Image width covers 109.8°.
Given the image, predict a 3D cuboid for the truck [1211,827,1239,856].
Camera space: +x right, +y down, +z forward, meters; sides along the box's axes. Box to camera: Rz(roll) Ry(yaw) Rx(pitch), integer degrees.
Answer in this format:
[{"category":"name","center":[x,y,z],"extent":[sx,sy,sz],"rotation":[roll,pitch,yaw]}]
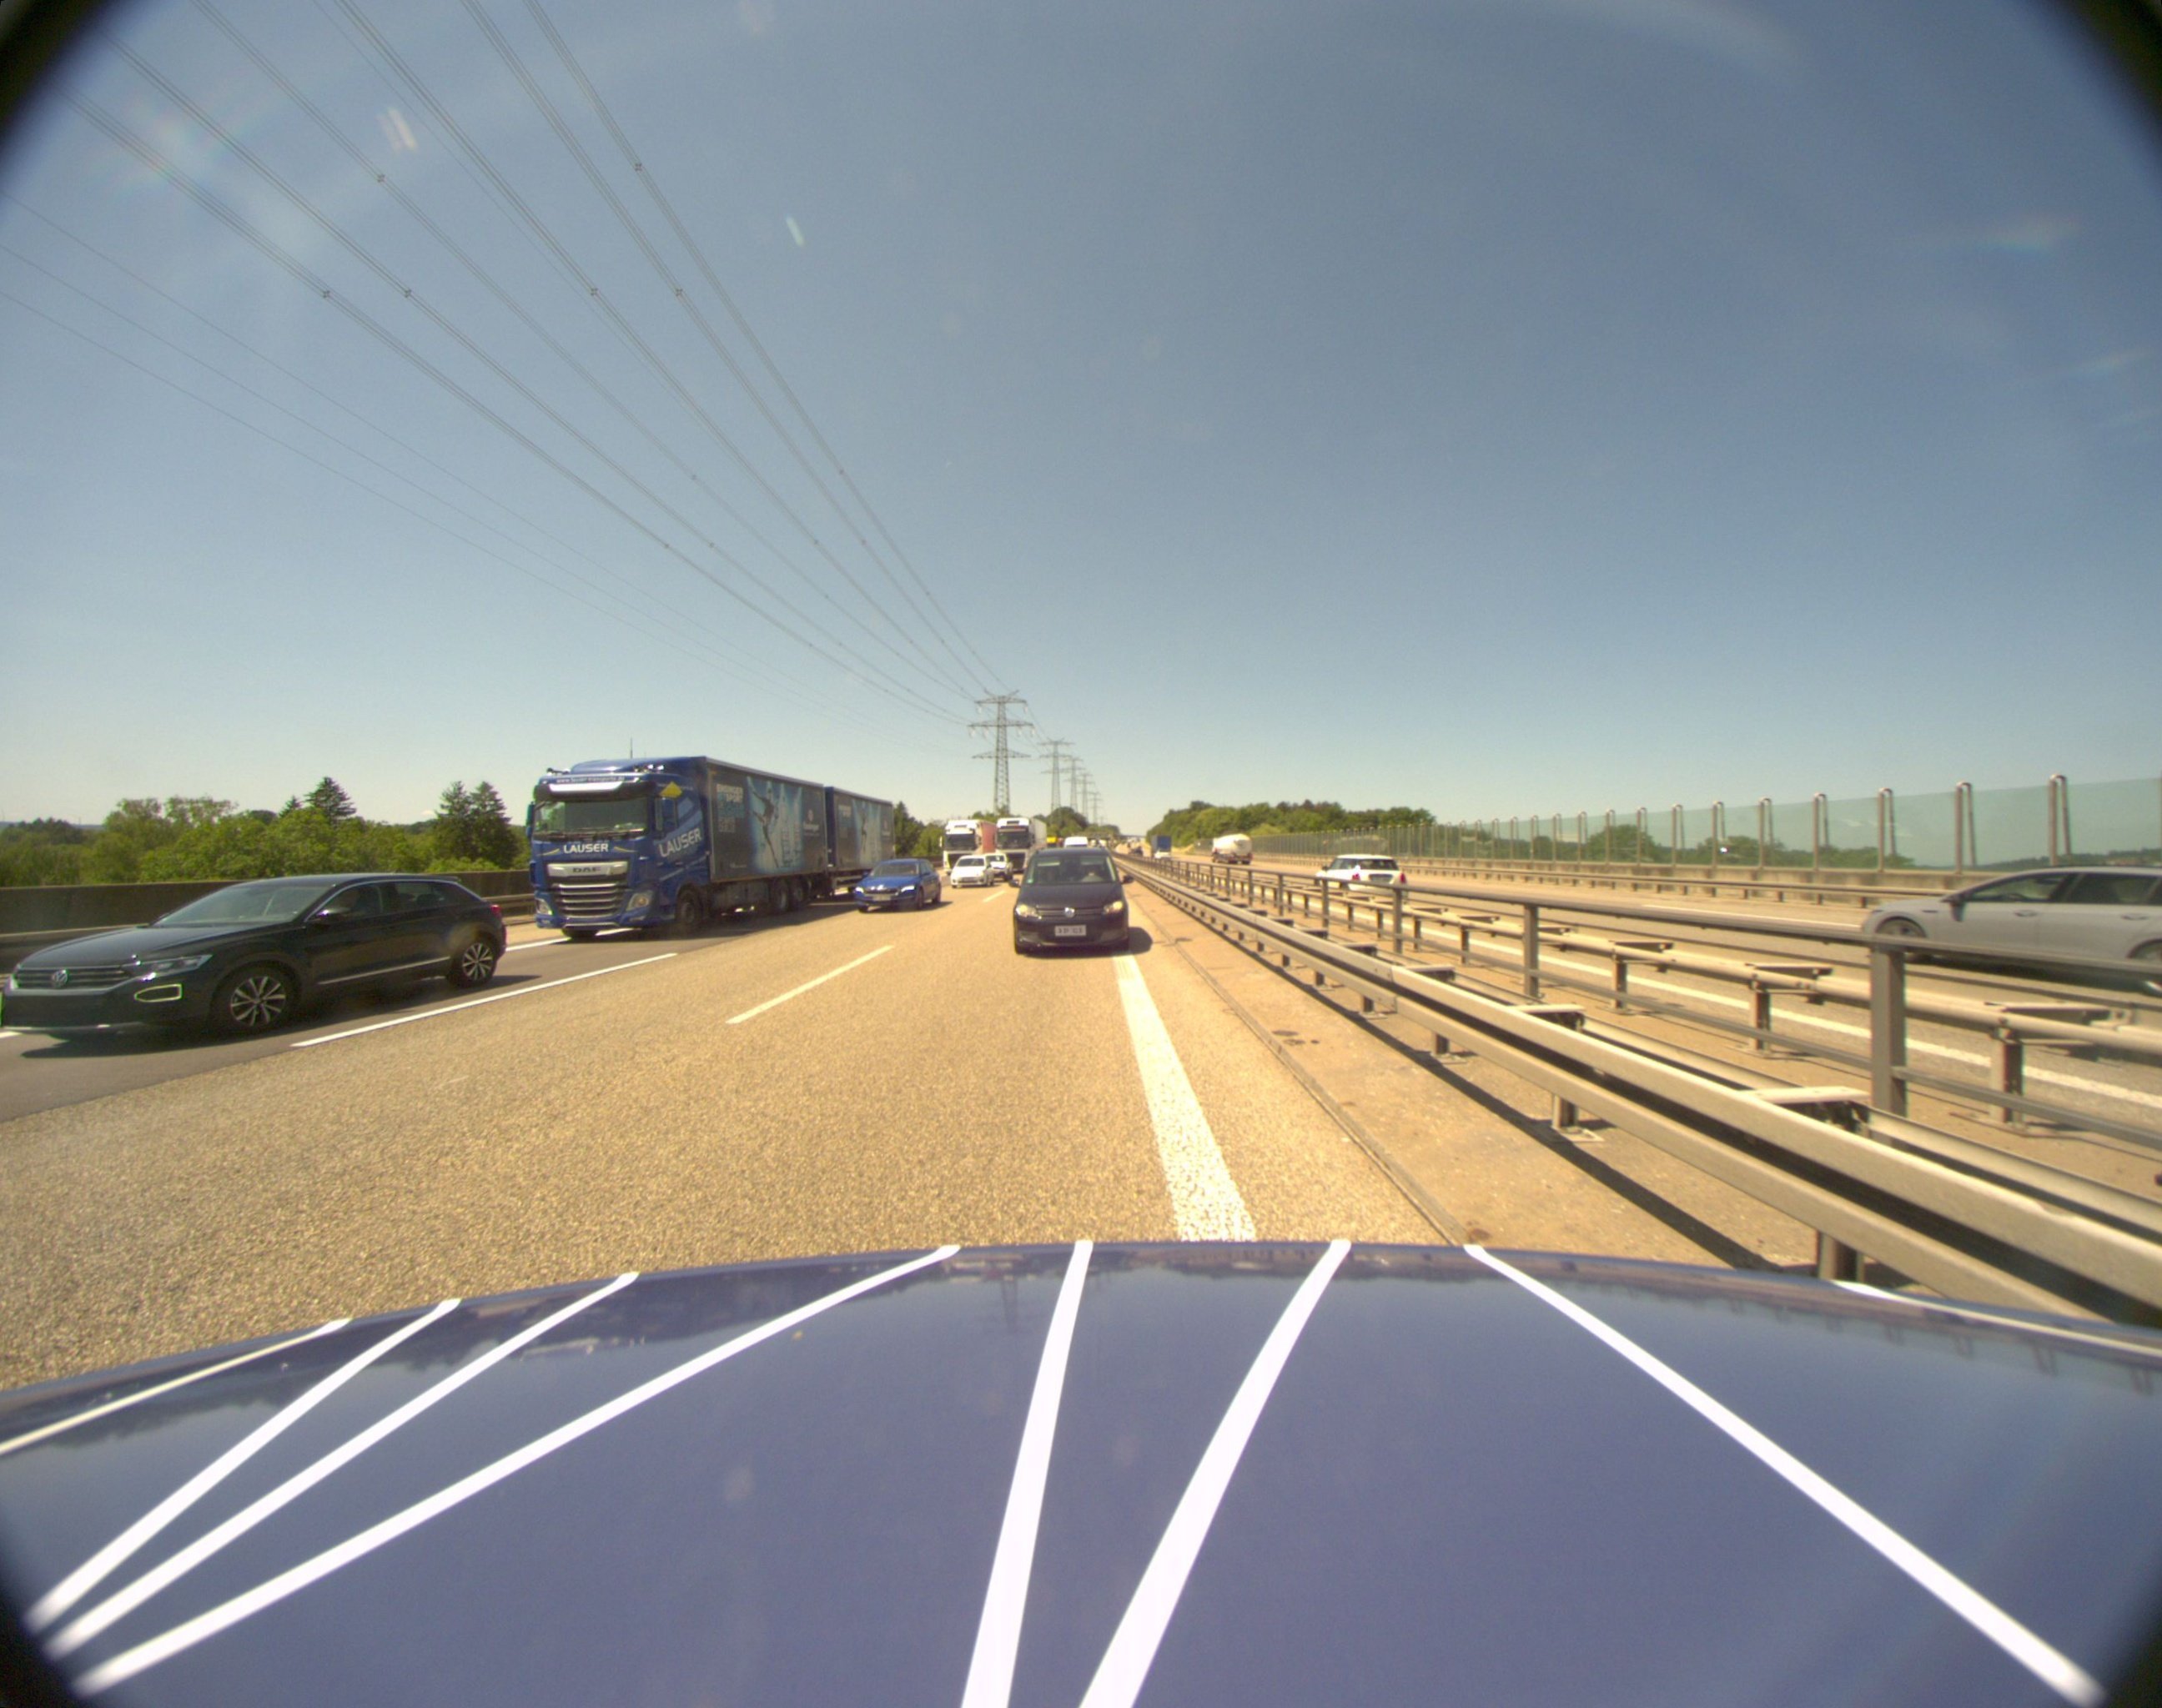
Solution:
[{"category":"truck","center":[17.945,-1.528,94.884],"extent":[2.527,3.515,5.329],"rotation":[0,1,1]}]

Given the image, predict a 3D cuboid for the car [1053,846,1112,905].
[{"category":"car","center":[0.066,0.626,24.514],"extent":[1.712,1.669,3.931],"rotation":[-2,1,1]}]

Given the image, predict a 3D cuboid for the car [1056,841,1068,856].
[{"category":"car","center":[-2.886,-0.850,116.468],"extent":[1.704,2.116,3.999],"rotation":[2,1,1]}]

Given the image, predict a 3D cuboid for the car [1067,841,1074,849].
[{"category":"car","center":[-3.087,-2.621,223.555],"extent":[1.704,2.116,3.999],"rotation":[2,1,1]}]

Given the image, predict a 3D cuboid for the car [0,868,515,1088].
[{"category":"car","center":[-8.735,1.086,8.396],"extent":[1.712,1.645,4.117],"rotation":[-2,1,1]}]

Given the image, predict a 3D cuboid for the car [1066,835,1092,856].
[{"category":"car","center":[-0.105,-0.678,59.814],"extent":[1.924,1.501,3.996],"rotation":[-2,1,1]}]

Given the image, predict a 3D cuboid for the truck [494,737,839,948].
[{"category":"truck","center":[-9.588,-0.314,19.751],"extent":[2.859,3.927,10.393],"rotation":[-2,1,1]}]

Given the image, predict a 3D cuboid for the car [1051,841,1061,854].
[{"category":"car","center":[-5.232,-1.407,159.475],"extent":[1.704,2.525,3.999],"rotation":[2,1,1]}]

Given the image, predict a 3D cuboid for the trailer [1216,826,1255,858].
[{"category":"trailer","center":[17.886,-1.412,88.665],"extent":[2.505,3.520,10.901],"rotation":[0,1,1]}]

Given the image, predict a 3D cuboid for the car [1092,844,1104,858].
[{"category":"car","center":[2.678,-0.441,118.196],"extent":[1.704,2.116,3.999],"rotation":[-2,1,1]}]

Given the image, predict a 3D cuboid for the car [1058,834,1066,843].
[{"category":"car","center":[-4.599,-3.833,186.242],"extent":[1.704,2.116,3.999],"rotation":[2,1,1]}]

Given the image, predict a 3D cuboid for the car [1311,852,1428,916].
[{"category":"car","center":[8.088,0.773,21.676],"extent":[1.876,1.521,3.608],"rotation":[4,1,0]}]

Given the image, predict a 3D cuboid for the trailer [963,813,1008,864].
[{"category":"trailer","center":[-8.240,-1.334,66.629],"extent":[2.608,4.094,9.083],"rotation":[-2,1,0]}]

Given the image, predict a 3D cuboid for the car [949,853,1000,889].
[{"category":"car","center":[-4.984,0.764,36.022],"extent":[1.712,1.443,4.144],"rotation":[-2,1,1]}]

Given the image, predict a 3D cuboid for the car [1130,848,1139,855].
[{"category":"car","center":[13.059,-0.718,186.008],"extent":[1.886,1.543,4.188],"rotation":[-2,1,-1]}]

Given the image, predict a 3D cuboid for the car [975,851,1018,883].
[{"category":"car","center":[-4.494,0.655,40.891],"extent":[1.712,1.501,4.144],"rotation":[-2,1,1]}]

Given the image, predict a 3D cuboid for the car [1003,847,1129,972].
[{"category":"car","center":[-0.181,0.771,12.686],"extent":[1.712,1.669,3.931],"rotation":[-2,1,1]}]

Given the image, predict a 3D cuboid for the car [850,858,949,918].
[{"category":"car","center":[-5.272,0.916,22.697],"extent":[1.712,1.443,4.563],"rotation":[-2,1,1]}]

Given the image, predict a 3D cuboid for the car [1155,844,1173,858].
[{"category":"car","center":[10.362,-0.380,95.416],"extent":[1.811,1.630,3.999],"rotation":[1,1,-1]}]

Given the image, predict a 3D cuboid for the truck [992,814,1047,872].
[{"category":"truck","center":[-4.378,-0.828,55.871],"extent":[2.849,3.804,8.264],"rotation":[-2,1,2]}]

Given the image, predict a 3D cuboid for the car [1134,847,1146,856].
[{"category":"car","center":[10.996,-0.551,142.279],"extent":[1.886,1.543,4.188],"rotation":[-2,1,-1]}]

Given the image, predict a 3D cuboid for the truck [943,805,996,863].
[{"category":"truck","center":[-8.330,-1.497,57.871],"extent":[2.608,3.965,8.263],"rotation":[-2,1,0]}]

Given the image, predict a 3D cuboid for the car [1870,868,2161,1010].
[{"category":"car","center":[12.574,0.964,8.995],"extent":[1.876,1.434,4.384],"rotation":[1,1,0]}]

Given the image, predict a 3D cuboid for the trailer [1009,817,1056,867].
[{"category":"trailer","center":[-3.979,-1.045,64.547],"extent":[2.822,3.830,9.085],"rotation":[-2,1,2]}]

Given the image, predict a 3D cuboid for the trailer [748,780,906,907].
[{"category":"trailer","center":[-9.350,-0.415,29.315],"extent":[2.835,4.066,8.636],"rotation":[-2,1,1]}]

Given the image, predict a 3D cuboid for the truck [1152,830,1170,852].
[{"category":"truck","center":[15.130,-2.421,143.440],"extent":[2.760,4.093,6.264],"rotation":[0,1,0]}]

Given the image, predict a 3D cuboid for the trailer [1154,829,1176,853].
[{"category":"trailer","center":[15.028,-2.312,137.209],"extent":[2.711,4.142,12.047],"rotation":[0,1,0]}]
